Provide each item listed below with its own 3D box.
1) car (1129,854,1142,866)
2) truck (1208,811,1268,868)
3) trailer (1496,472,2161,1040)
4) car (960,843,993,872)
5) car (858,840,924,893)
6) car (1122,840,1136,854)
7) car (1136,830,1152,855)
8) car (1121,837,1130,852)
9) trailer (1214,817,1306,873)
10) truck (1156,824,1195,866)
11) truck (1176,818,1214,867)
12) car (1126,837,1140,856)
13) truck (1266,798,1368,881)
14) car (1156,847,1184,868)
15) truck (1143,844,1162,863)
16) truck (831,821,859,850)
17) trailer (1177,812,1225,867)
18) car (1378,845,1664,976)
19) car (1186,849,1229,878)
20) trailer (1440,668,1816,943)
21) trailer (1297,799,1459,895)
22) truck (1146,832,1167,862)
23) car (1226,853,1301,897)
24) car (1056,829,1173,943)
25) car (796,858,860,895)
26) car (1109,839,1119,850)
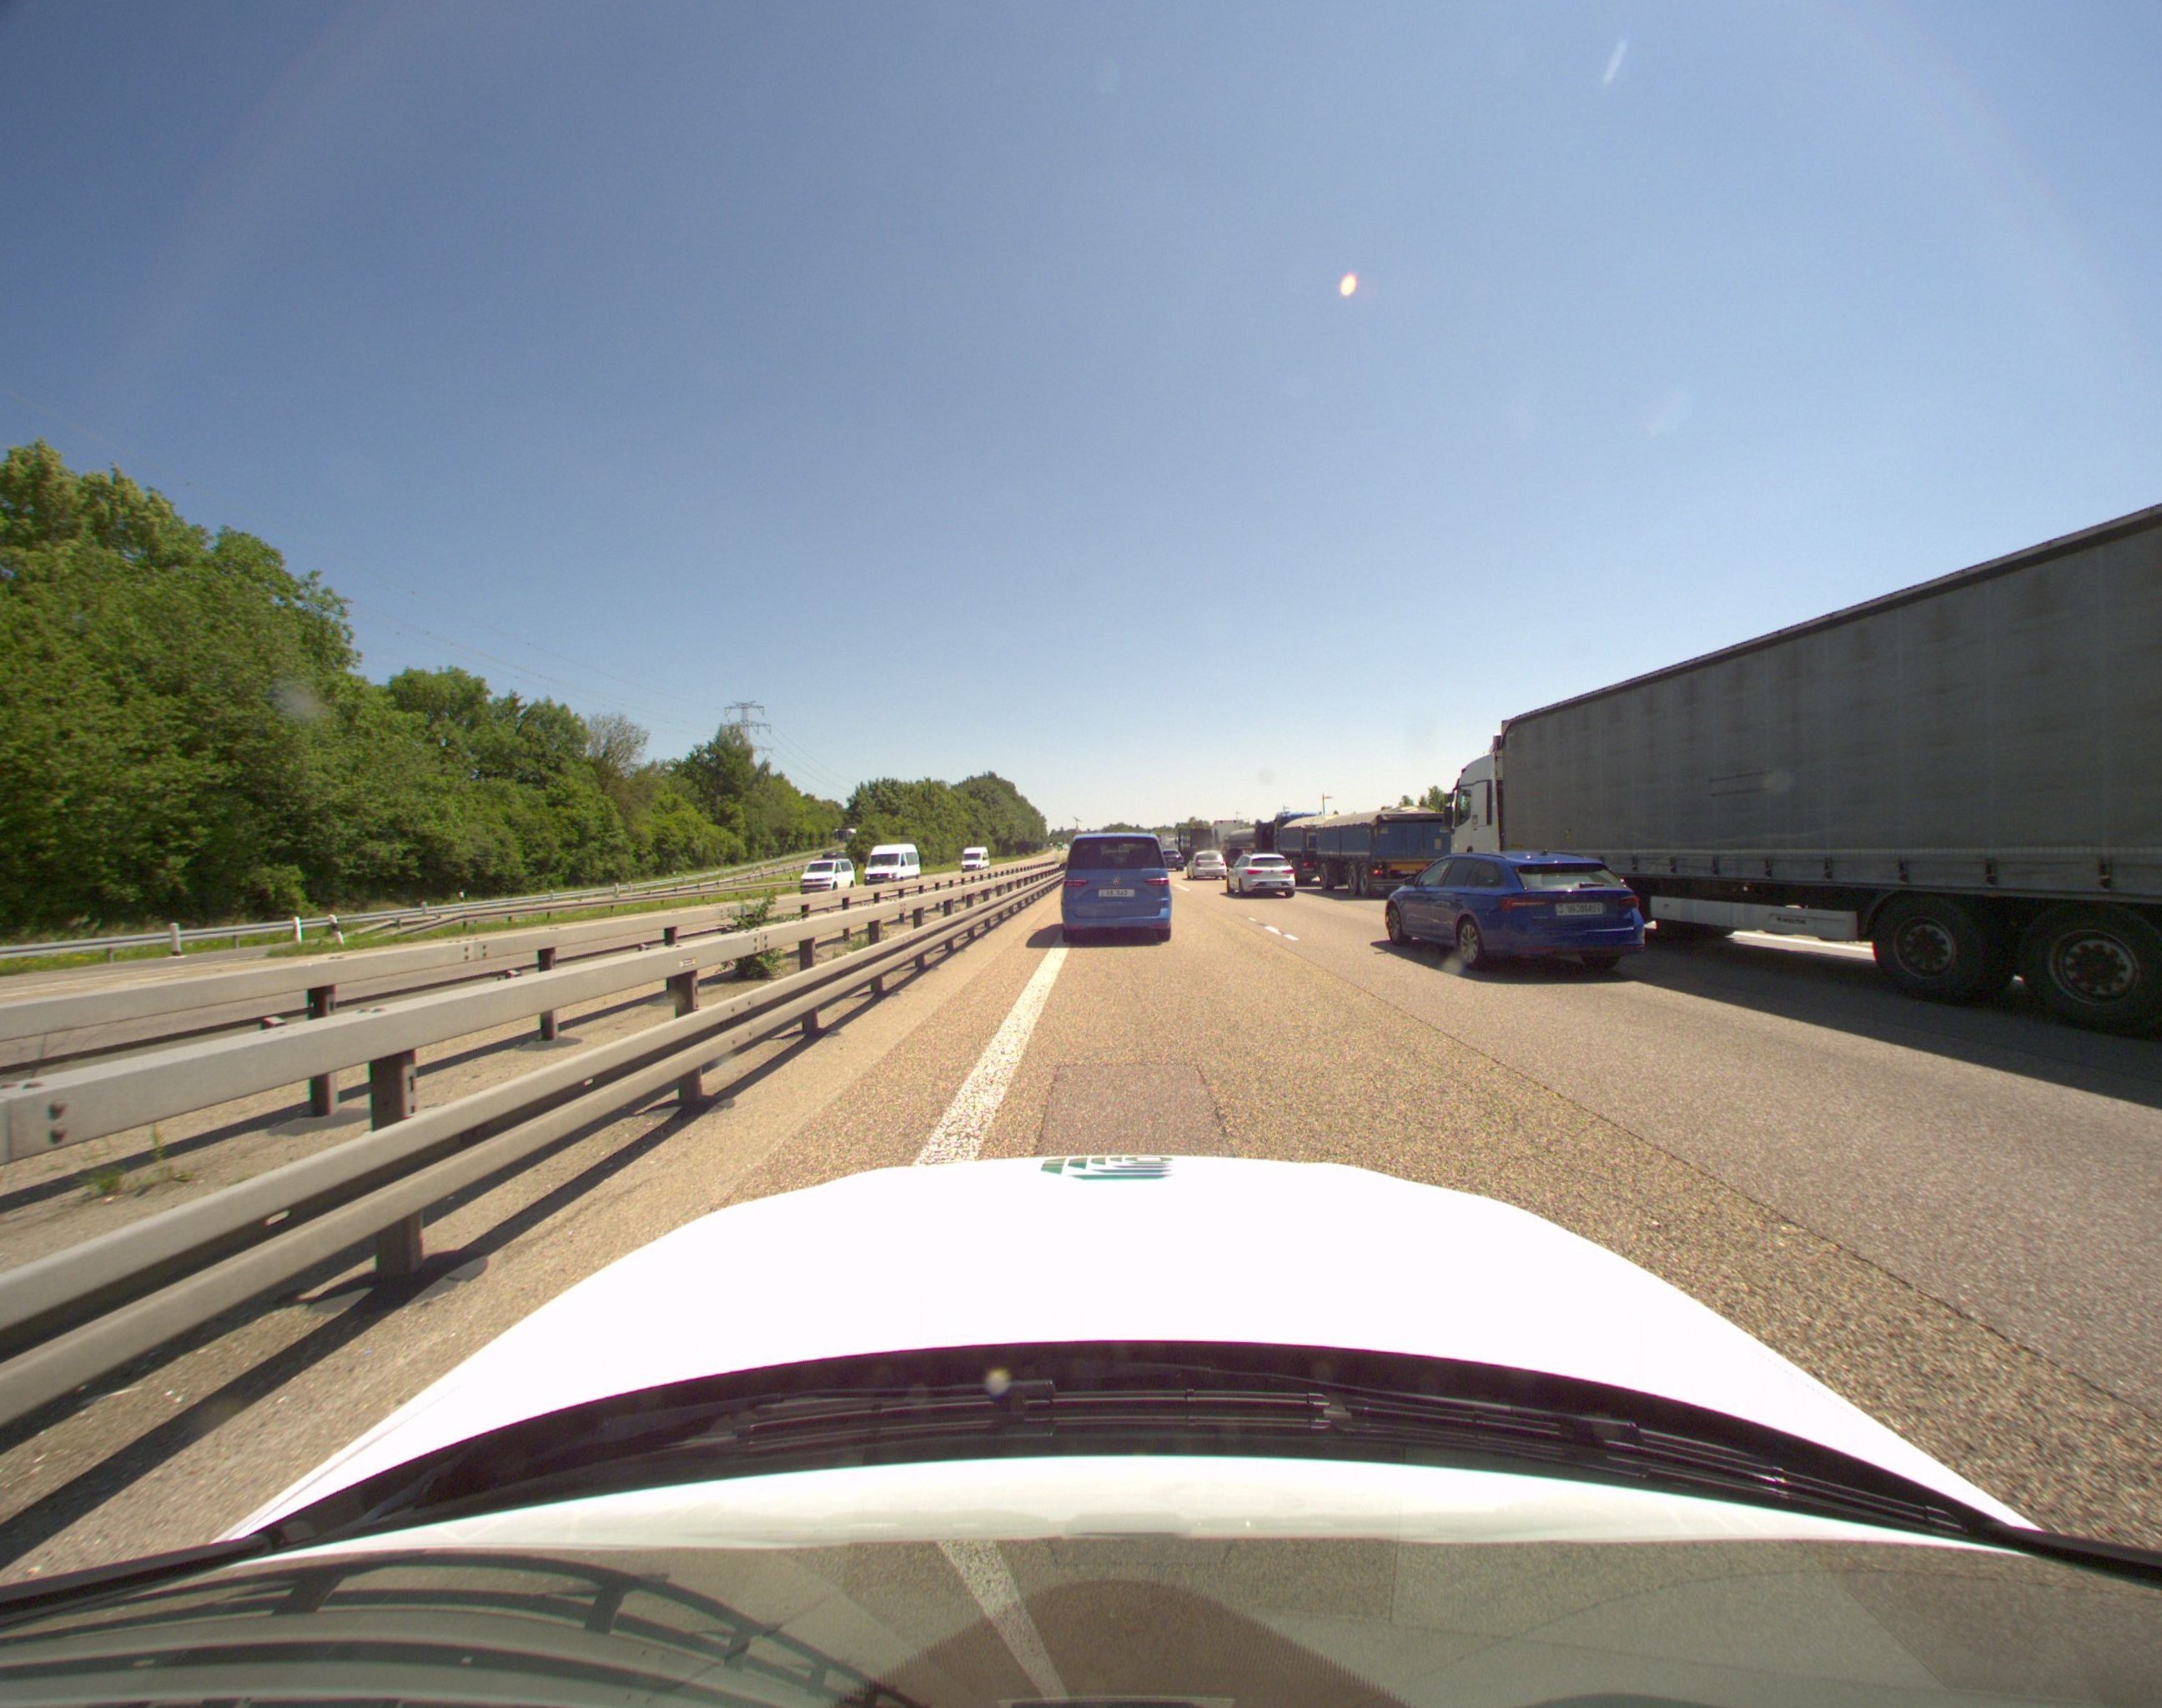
[{"bbox_3d":[8.893,1.008,132.754,1.986,2.014,4.001,-1,-1,2],"label":"car"},{"bbox_3d":[11.876,-1.011,62.341,3.610,4.094,7.531,-1,-1,3],"label":"truck"},{"bbox_3d":[9.324,-0.728,8.964,2.951,4.049,13.759,-1,0,2],"label":"trailer"},{"bbox_3d":[-9.966,0.350,77.969,2.148,2.594,5.892,-3,-1,1],"label":"car"},{"bbox_3d":[-10.791,0.705,46.752,2.045,2.651,5.840,-5,-1,1],"label":"car"},{"bbox_3d":[9.473,-1.328,160.135,2.541,2.717,5.623,-1,-1,2],"label":"car"},{"bbox_3d":[13.991,-2.553,182.359,3.206,5.257,8.148,-1,-1,2],"label":"car"},{"bbox_3d":[14.458,-2.941,265.596,2.706,4.713,11.565,-1,-1,2],"label":"car"},{"bbox_3d":[11.251,-0.432,53.260,3.630,3.079,15.788,-1,-1,4],"label":"trailer"},{"bbox_3d":[12.493,-1.024,109.743,3.609,5.212,15.689,-1,-1,1],"label":"truck"},{"bbox_3d":[12.527,-1.207,89.923,3.642,5.180,5.714,-1,-1,4],"label":"truck"},{"bbox_3d":[15.001,-2.029,235.870,3.209,5.257,8.139,0,-1,-1],"label":"car"},{"bbox_3d":[10.352,-0.656,36.438,2.733,3.311,7.137,-1,1,2],"label":"truck"},{"bbox_3d":[6.725,0.302,61.892,1.774,1.524,4.001,-1,-1,2],"label":"car"},{"bbox_3d":[7.238,-0.012,82.691,1.719,1.857,4.001,-1,-1,2],"label":"truck"},{"bbox_3d":[-63.490,-4.837,218.677,4.699,7.228,13.515,0,-1,-28],"label":"truck"},{"bbox_3d":[12.115,-1.277,83.492,3.631,5.136,13.086,-1,-1,3],"label":"trailer"},{"bbox_3d":[5.658,0.645,11.207,1.699,1.441,4.430,-1,-1,3],"label":"car"},{"bbox_3d":[6.717,0.501,43.698,1.833,1.454,4.002,-1,-1,2],"label":"car"},{"bbox_3d":[9.570,-0.744,15.362,2.913,4.043,6.414,-1,0,2],"label":"trailer"},{"bbox_3d":[10.086,-0.293,28.884,2.733,2.836,9.121,-1,1,2],"label":"trailer"},{"bbox_3d":[13.186,-1.152,143.550,3.057,4.920,10.694,-1,-1,2],"label":"truck"},{"bbox_3d":[6.061,0.646,27.450,1.860,1.361,4.004,-1,0,3],"label":"car"},{"bbox_3d":[0.668,0.542,15.283,1.893,1.838,4.003,-1,-1,3],"label":"car"},{"bbox_3d":[-14.612,1.240,47.340,1.858,1.904,5.493,-4,-1,1],"label":"car"},{"bbox_3d":[10.264,-3.035,254.281,2.478,3.204,7.368,0,-1,-1],"label":"car"}]
